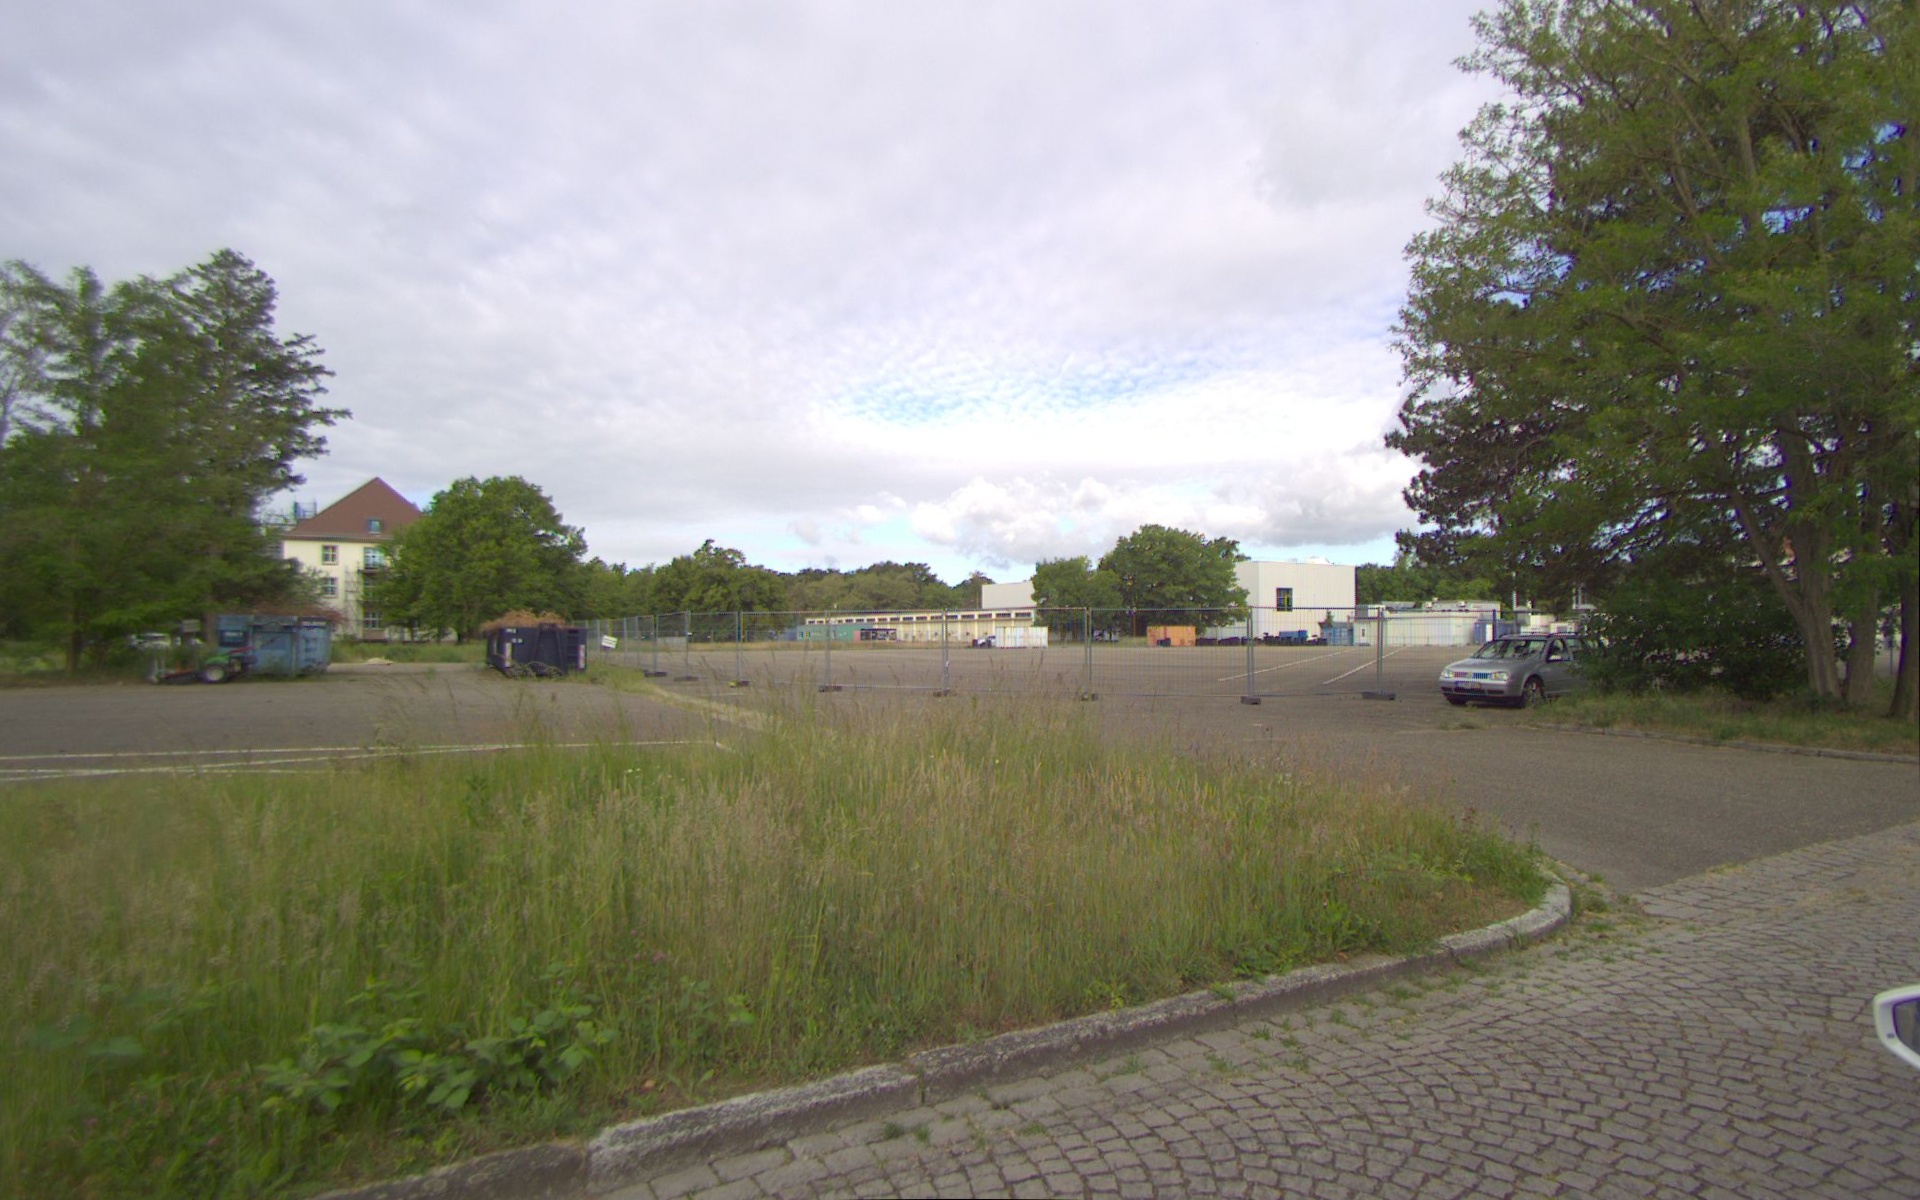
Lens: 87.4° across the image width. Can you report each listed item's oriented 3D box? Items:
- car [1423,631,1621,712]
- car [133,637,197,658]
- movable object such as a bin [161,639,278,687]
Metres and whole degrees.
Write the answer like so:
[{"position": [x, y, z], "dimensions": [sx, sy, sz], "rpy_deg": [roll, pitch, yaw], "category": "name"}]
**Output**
[{"position": [11.615, 1.404, 20.715], "dimensions": [4.112, 1.451, 1.722], "rpy_deg": [0, -1, -30], "category": "car"}, {"position": [-84.796, 5.078, 107.262], "dimensions": [5.094, 2.177, 1.760], "rpy_deg": [2, -3, -32], "category": "car"}, {"position": [-18.627, 1.572, 25.342], "dimensions": [2.242, 1.140, 0.852], "rpy_deg": [2, -2, -31], "category": "movable object such as a bin"}]
